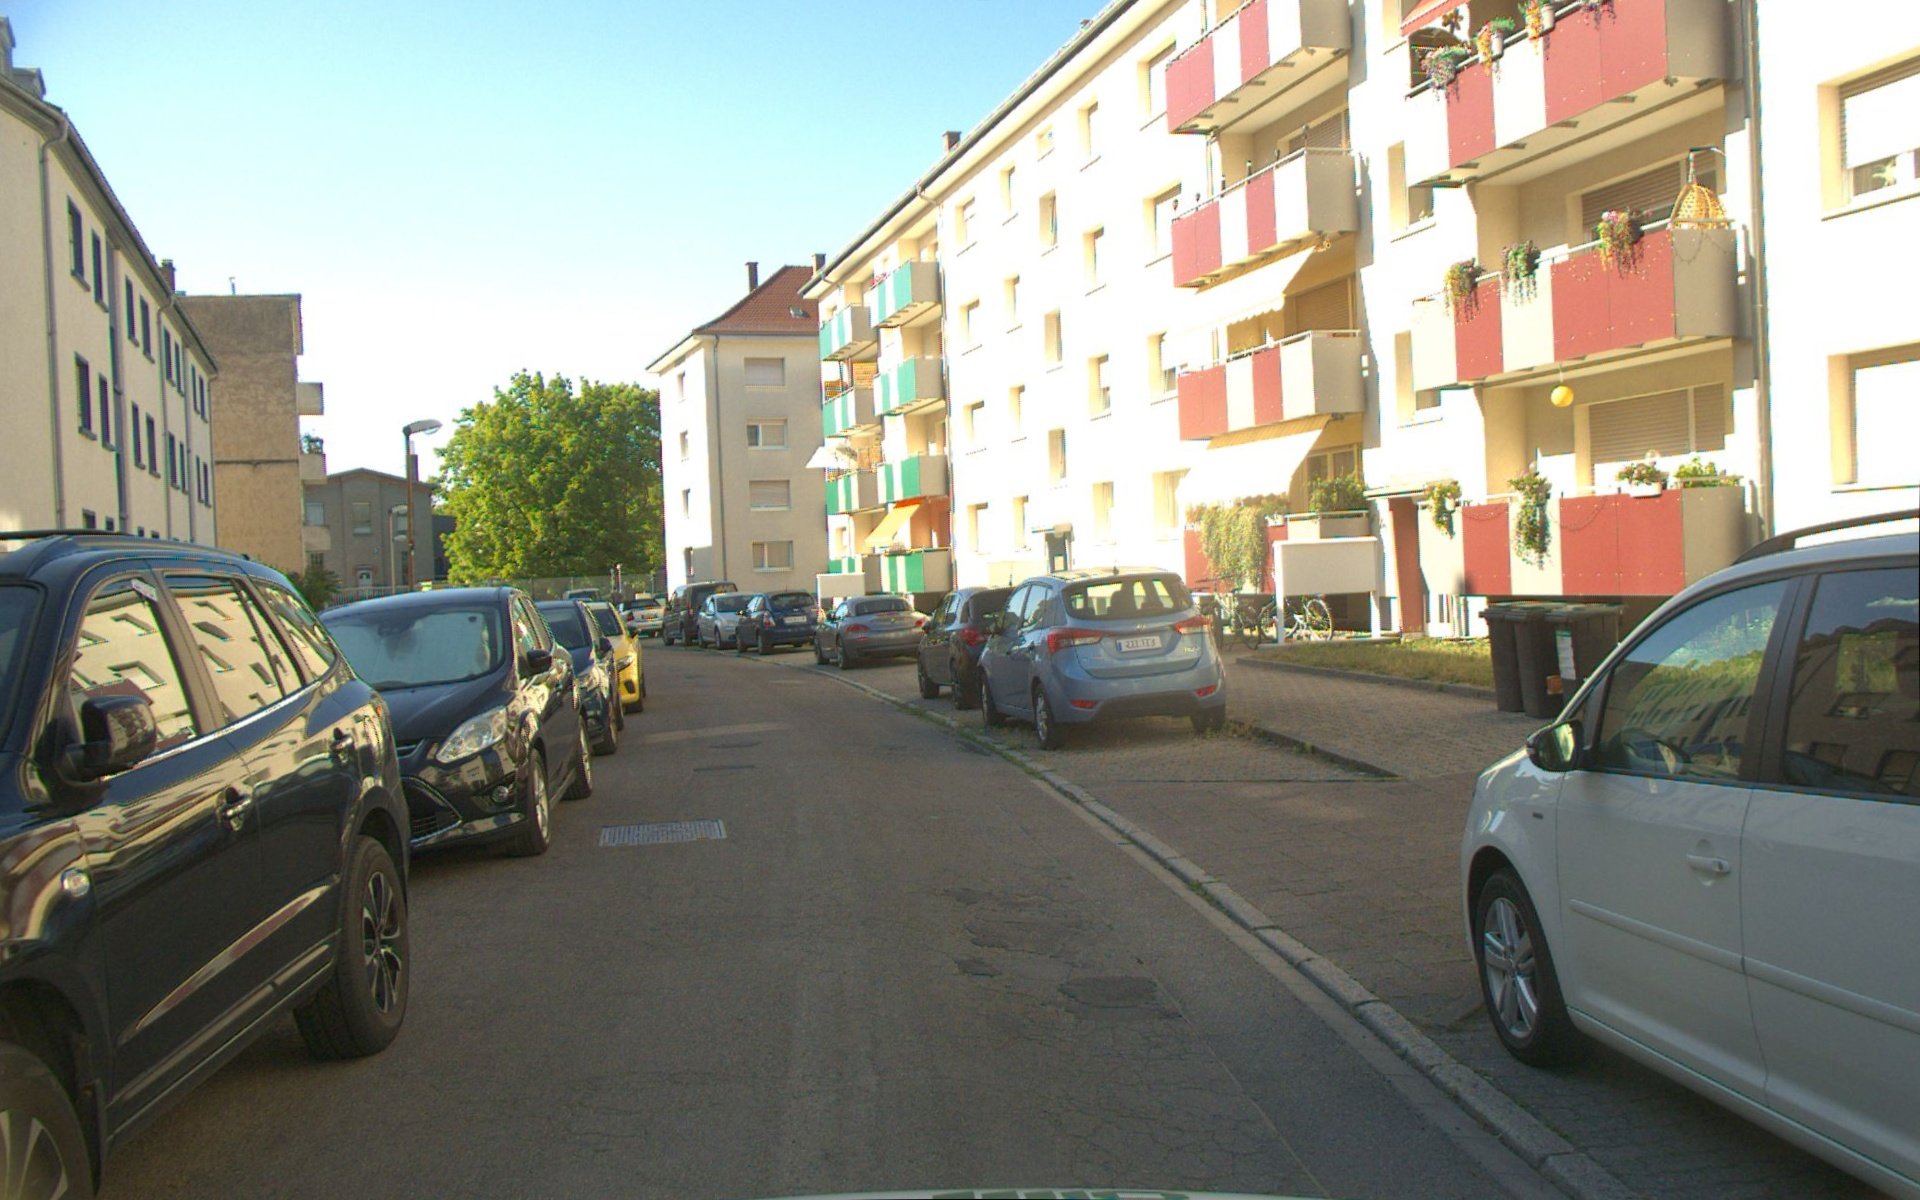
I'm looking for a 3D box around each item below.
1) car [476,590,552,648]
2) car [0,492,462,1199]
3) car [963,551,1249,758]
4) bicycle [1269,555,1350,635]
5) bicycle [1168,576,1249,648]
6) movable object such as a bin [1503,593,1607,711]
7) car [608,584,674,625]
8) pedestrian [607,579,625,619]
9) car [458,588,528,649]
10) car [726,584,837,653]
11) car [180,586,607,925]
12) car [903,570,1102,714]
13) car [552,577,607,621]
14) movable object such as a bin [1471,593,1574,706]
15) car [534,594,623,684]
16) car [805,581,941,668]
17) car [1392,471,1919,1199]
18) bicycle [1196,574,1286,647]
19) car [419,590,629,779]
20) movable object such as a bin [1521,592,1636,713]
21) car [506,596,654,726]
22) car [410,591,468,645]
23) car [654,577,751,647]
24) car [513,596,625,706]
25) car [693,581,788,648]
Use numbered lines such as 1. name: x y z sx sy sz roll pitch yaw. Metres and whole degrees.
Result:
1. car: -12.951 0.549 47.911 1.636 1.468 3.846 -6 1 -21
2. car: -2.544 0.757 4.130 1.526 1.743 4.332 -6 1 -6
3. car: 1.326 0.436 16.756 1.735 1.663 4.031 -6 2 -11
4. bicycle: 5.388 -0.073 25.603 0.400 1.170 1.755 -5 1 -14
5. bicycle: 3.802 0.176 25.470 0.489 1.037 1.835 -5 1 -14
6. movable object such as a bin: 4.979 0.422 13.860 0.573 0.914 0.516 -5 1 -11
7. car: -11.606 0.148 59.976 1.692 1.388 4.030 -2 1 -21
8. pedestrian: -16.642 -0.044 80.011 0.643 1.846 0.612 -5 1 -11
9. car: -16.273 0.655 57.547 1.870 1.887 4.168 -4 0 -21
10. car: -4.468 0.445 40.838 1.712 1.456 4.332 -6 1 -19
11. car: -3.360 0.776 10.629 1.662 1.587 4.150 -5 1 -7
12. car: 0.455 0.482 21.904 1.705 1.534 3.875 -7 2 -11
13. car: -17.315 -0.039 75.156 1.741 1.769 4.068 -6 1 -21
14. movable object such as a bin: 4.909 0.419 14.450 0.573 0.915 0.583 -5 1 -11
15. car: -7.542 0.723 32.660 1.454 1.501 3.618 -8 2 -13
16. car: -1.760 0.434 32.075 1.659 1.386 4.222 -6 2 -15
17. car: 2.688 0.516 4.092 1.661 1.684 4.386 -5 2 -5
18. bicycle: 4.345 0.143 25.695 0.607 0.994 1.889 -7 3 -13
19. car: -4.274 0.734 16.726 1.664 1.469 4.009 -5 2 -11
20. movable object such as a bin: 5.032 0.417 13.482 0.573 0.903 0.639 -5 1 -11
21. car: -5.033 0.738 22.266 1.664 1.413 4.145 -5 1 -11
22. car: -22.639 0.784 71.752 1.966 2.048 4.425 -6 1 -21
23. car: -7.858 0.378 50.116 1.871 1.887 4.314 -4 0 -22
24. car: -6.472 0.766 27.233 1.543 1.489 4.245 -6 2 -14
25. car: -6.069 0.377 45.457 1.658 1.615 3.988 -5 1 -20
